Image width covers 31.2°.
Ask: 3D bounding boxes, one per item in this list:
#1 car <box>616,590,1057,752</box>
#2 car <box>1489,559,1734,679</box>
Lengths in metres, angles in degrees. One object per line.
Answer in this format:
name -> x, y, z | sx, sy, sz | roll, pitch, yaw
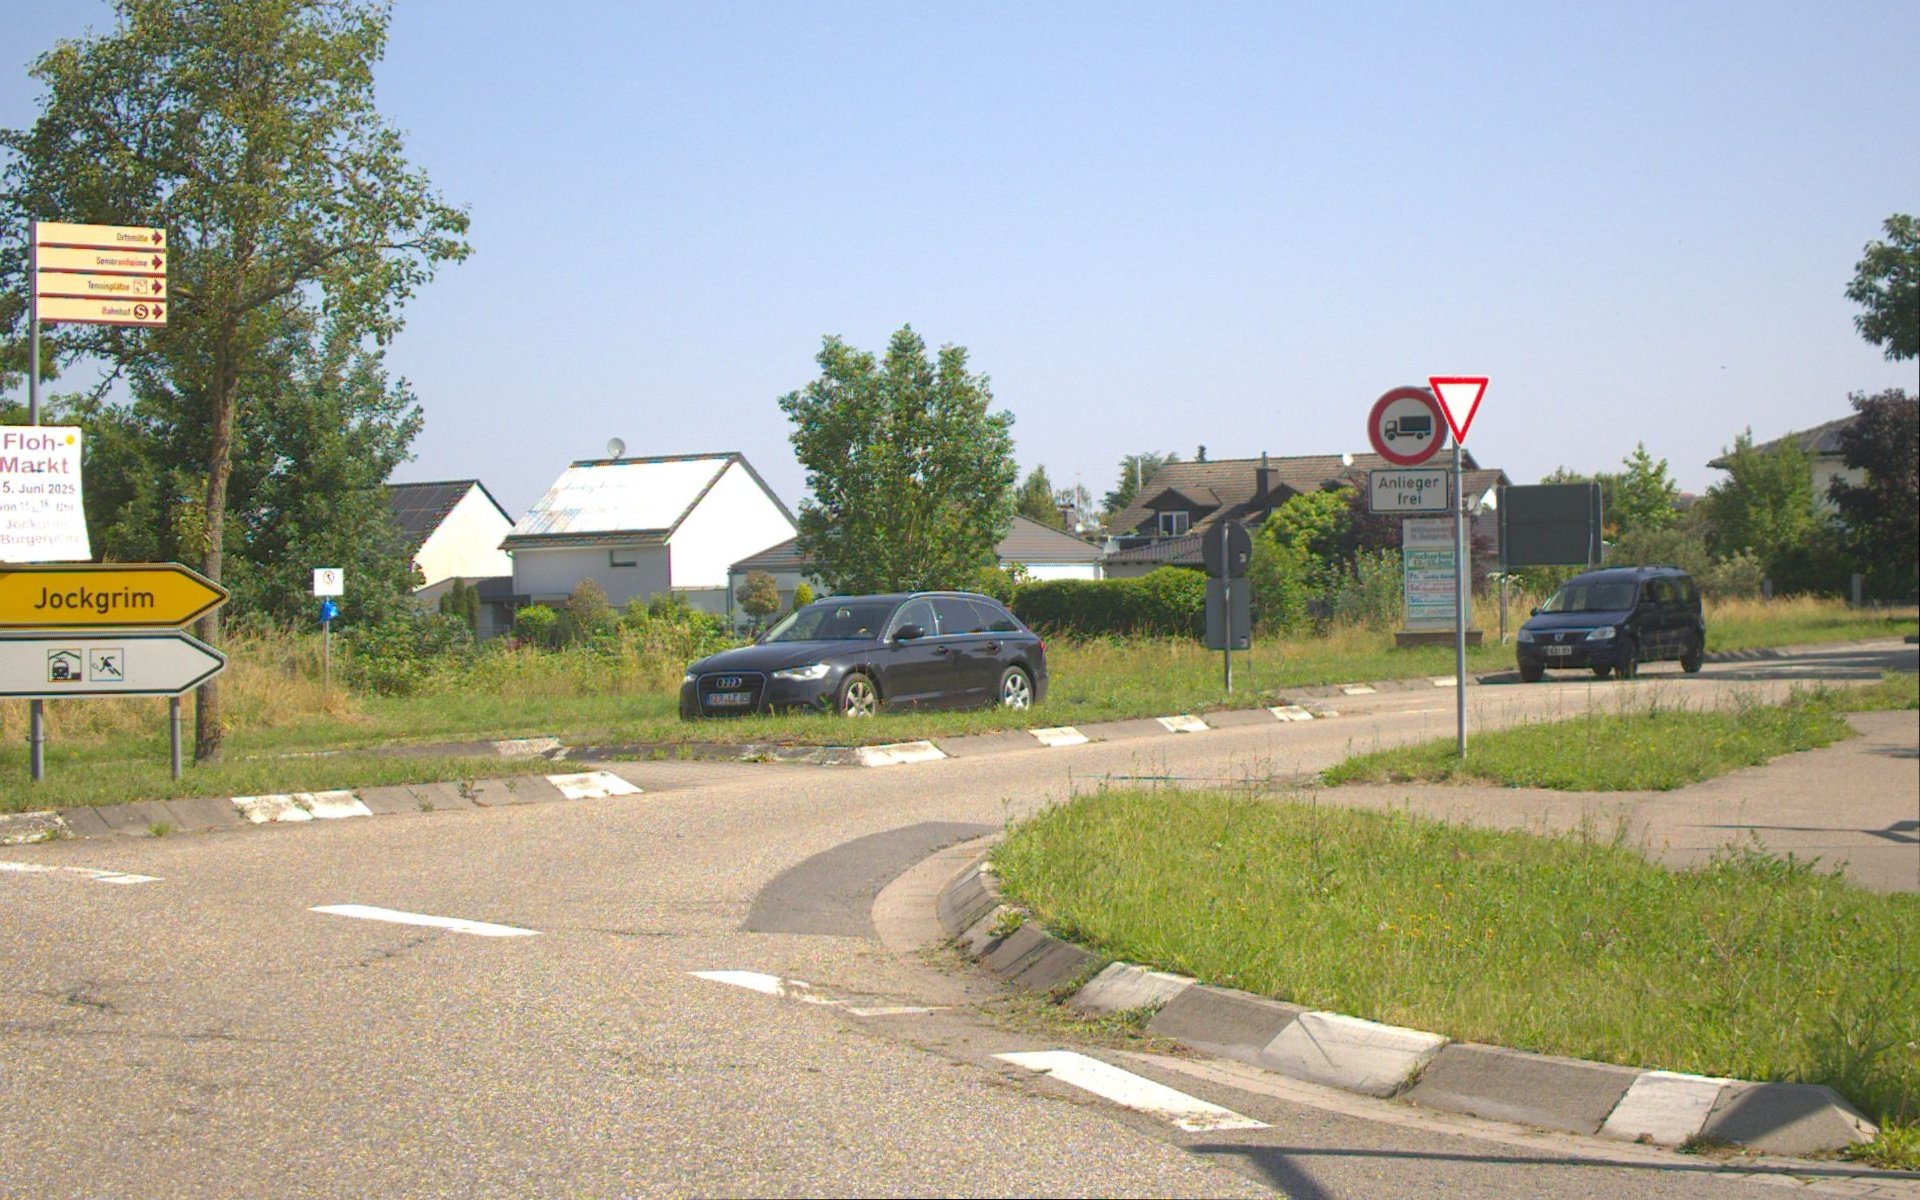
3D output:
car -> -1.149, 0.680, 34.700 | 1.921, 1.429, 4.903 | -4, -2, 33
car -> 9.903, 0.274, 52.004 | 1.813, 1.635, 4.646 | -5, -3, 35
